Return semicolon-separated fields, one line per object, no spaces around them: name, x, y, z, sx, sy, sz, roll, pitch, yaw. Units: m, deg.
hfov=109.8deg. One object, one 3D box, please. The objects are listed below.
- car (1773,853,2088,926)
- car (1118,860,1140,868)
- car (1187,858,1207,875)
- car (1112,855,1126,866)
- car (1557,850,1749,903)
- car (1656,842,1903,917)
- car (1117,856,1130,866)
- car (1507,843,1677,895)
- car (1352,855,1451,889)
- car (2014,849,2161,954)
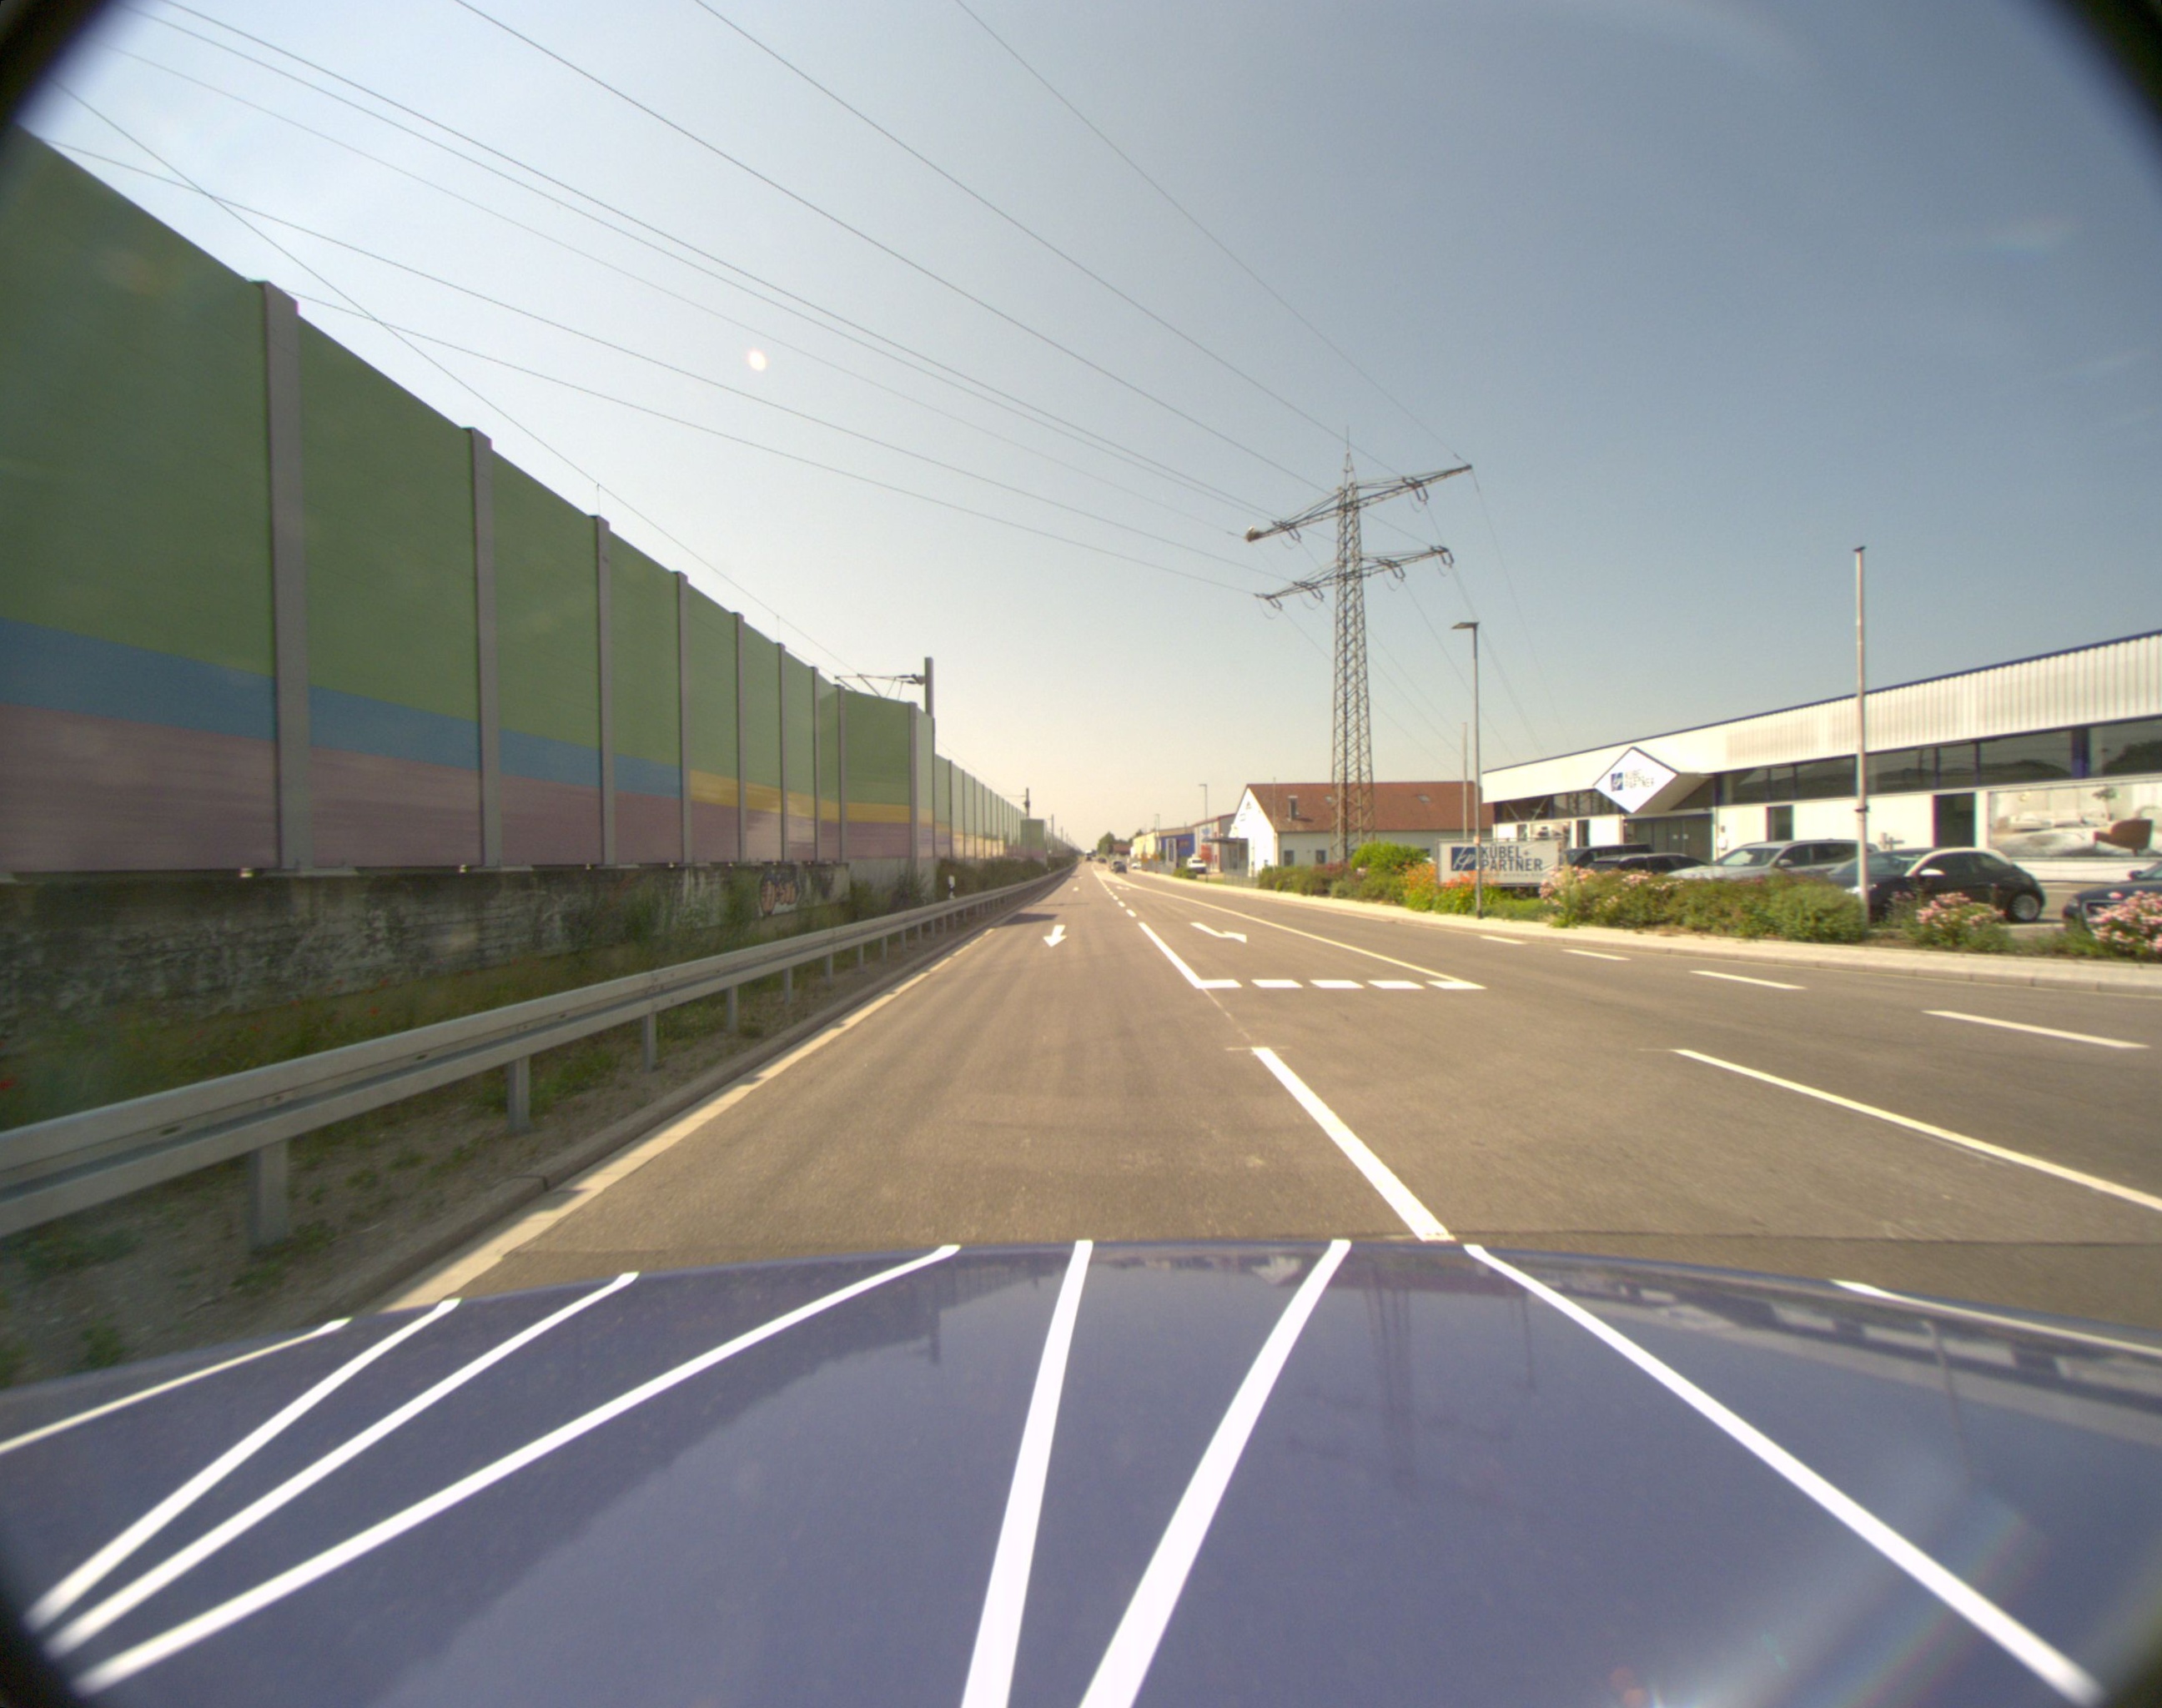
car;16.346;0.650;14.768;4.235;1.307;1.833;0;0;-3
car;9.642;2.073;152.655;4.151;1.493;1.779;-1;-1;31
car;14.610;1.586;95.918;1.998;2.002;4.680;0;0;2
car;6.547;1.051;131.067;1.999;1.863;5.169;0;0;0
car;15.830;0.606;21.146;3.999;1.405;1.999;0;0;-7
car;16.287;0.573;17.848;4.235;1.638;1.833;0;0;-3
car;6.182;1.054;111.368;1.675;1.414;4.000;1;0;0
car;16.144;0.468;24.143;4.235;1.586;1.833;0;0;-3
car;16.251;0.899;38.708;4.235;1.447;1.764;-3;0;-1
car;16.332;0.630;10.729;4.235;1.386;1.833;0;0;-3
